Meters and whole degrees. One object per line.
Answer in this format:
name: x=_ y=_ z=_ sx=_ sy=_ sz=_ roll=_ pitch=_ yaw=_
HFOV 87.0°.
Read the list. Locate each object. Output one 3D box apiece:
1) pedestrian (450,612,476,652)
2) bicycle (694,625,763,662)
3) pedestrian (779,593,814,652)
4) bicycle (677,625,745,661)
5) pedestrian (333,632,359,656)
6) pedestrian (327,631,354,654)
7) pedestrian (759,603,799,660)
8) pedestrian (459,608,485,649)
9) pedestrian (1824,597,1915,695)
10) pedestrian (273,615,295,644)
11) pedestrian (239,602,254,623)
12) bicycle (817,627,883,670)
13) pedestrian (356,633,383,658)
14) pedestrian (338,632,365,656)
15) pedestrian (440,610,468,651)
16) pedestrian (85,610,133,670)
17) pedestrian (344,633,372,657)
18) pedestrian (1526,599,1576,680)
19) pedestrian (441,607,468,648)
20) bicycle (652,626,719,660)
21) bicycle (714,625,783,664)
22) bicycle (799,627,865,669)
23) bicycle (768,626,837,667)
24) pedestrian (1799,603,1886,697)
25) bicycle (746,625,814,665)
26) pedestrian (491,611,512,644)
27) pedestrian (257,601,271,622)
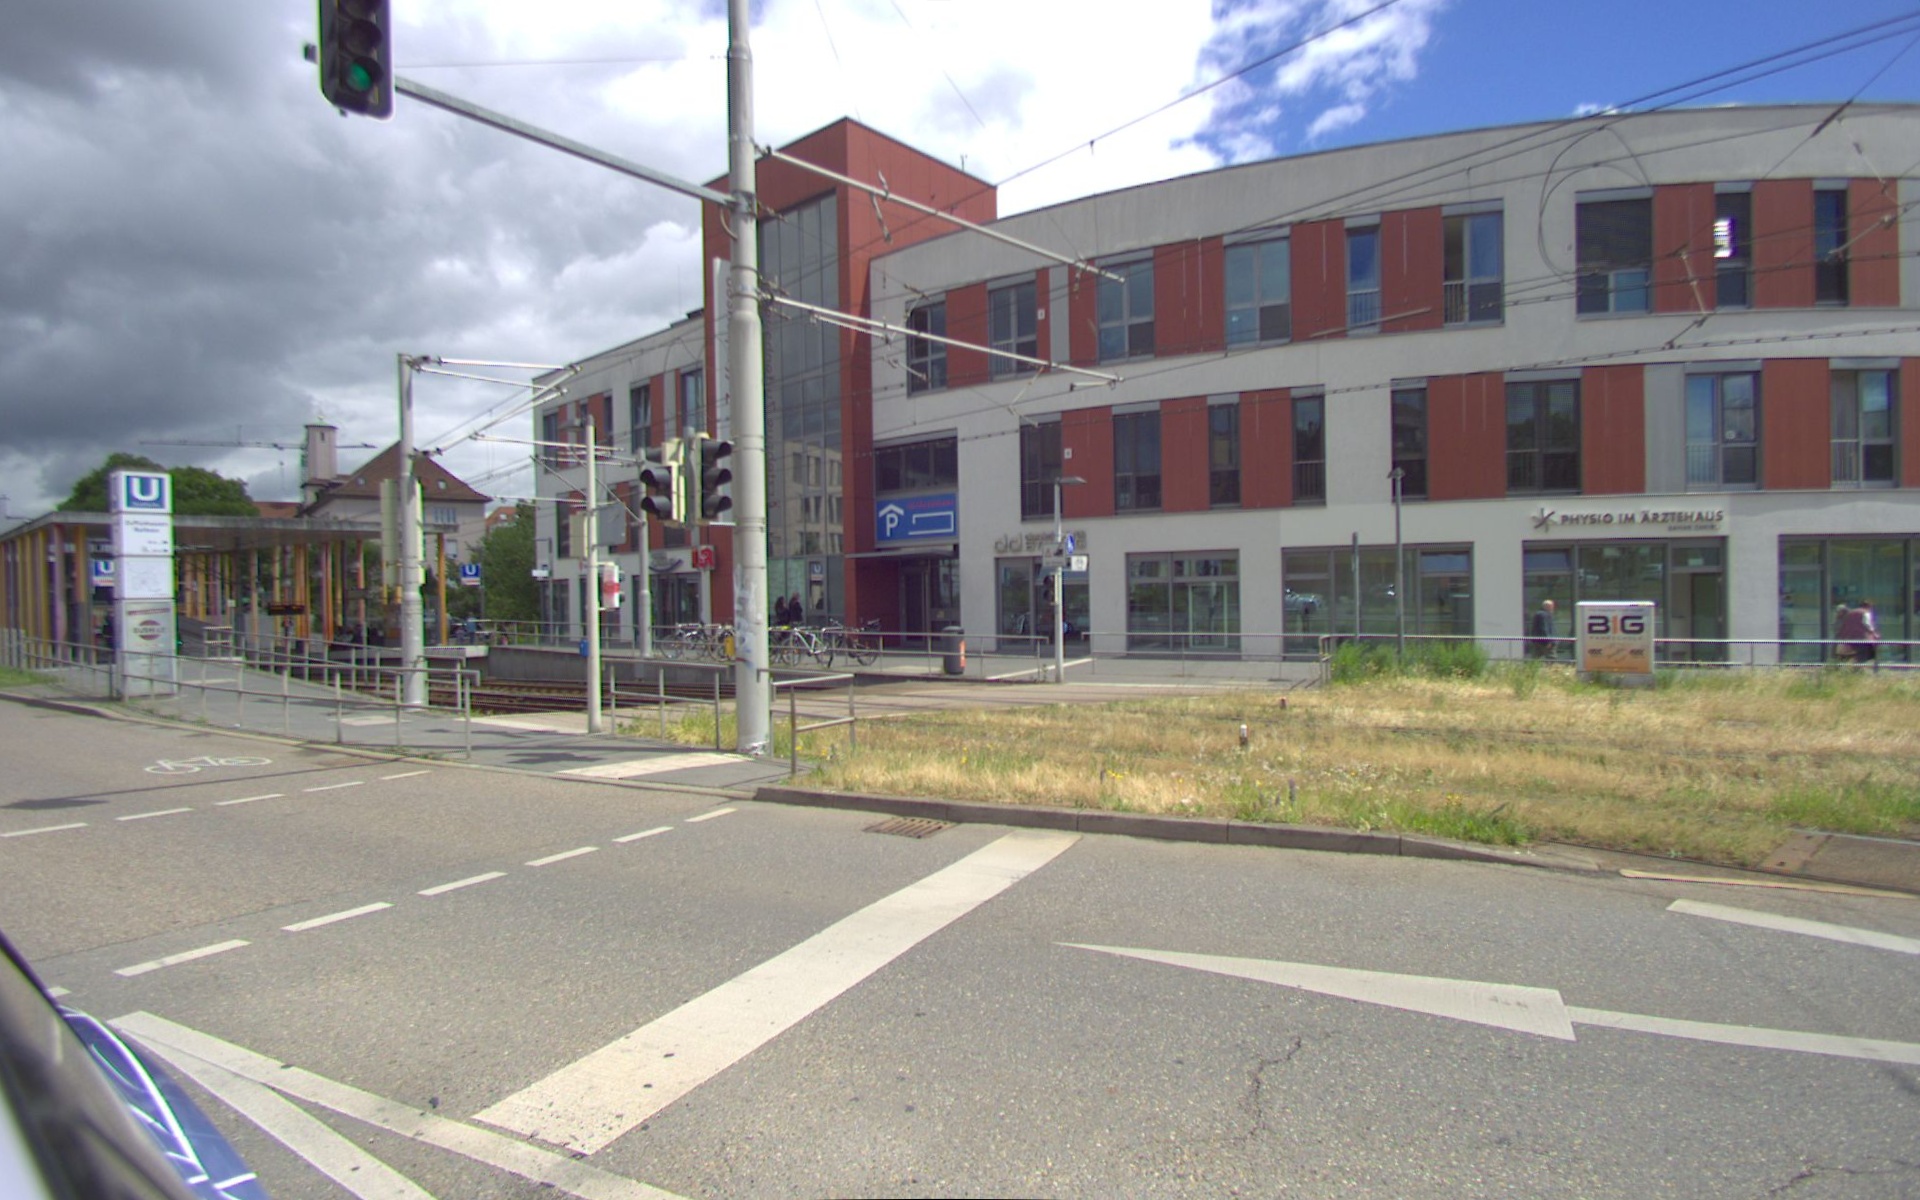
pedestrian: x=-25.221 y=1.629 z=51.380 sx=0.852 sy=1.983 sz=1.107 roll=1 pitch=-1 yaw=-44
bicycle: x=-6.297 y=1.180 z=27.556 sx=1.835 sy=0.929 sz=0.455 roll=0 pitch=0 yaw=-42
pedestrian: x=-5.235 y=0.696 z=32.453 sx=0.856 sy=1.859 sz=0.876 roll=0 pitch=1 yaw=13
bicycle: x=-6.909 y=1.184 z=28.116 sx=1.835 sy=0.939 sz=0.455 roll=0 pitch=0 yaw=-41
pedestrian: x=-30.712 y=2.189 z=50.614 sx=0.886 sy=1.143 sz=0.931 roll=-2 pitch=-1 yaw=43
pedestrian: x=-31.475 y=2.154 z=51.415 sx=0.886 sy=1.143 sz=0.931 roll=-2 pitch=-1 yaw=43
pedestrian: x=-5.563 y=0.950 z=31.112 sx=0.928 sy=1.711 sz=0.784 roll=0 pitch=-1 yaw=19
pedestrian: x=-24.143 y=1.410 z=50.056 sx=0.852 sy=1.983 sz=1.107 roll=1 pitch=-1 yaw=-44
pedestrian: x=18.919 y=0.932 z=21.073 sx=1.094 sy=1.983 sz=0.861 roll=0 pitch=-1 yaw=11
pedestrian: x=-47.607 y=2.088 z=71.279 sx=1.112 sy=2.029 sz=1.180 roll=0 pitch=-2 yaw=-44
pedestrian: x=-71.063 y=1.265 z=100.802 sx=1.112 sy=2.029 sz=0.816 roll=0 pitch=-2 yaw=-44
bicycle: x=-2.666 y=1.164 z=24.640 sx=0.428 sy=0.959 sz=1.716 roll=-1 pitch=0 yaw=43
pedestrian: x=-28.457 y=2.181 z=48.784 sx=0.886 sy=1.143 sz=0.931 roll=-2 pitch=-1 yaw=43
pedestrian: x=-30.022 y=2.184 z=49.896 sx=0.886 sy=1.143 sz=0.931 roll=-2 pitch=-1 yaw=43
pedestrian: x=-24.771 y=1.477 z=49.531 sx=1.105 sy=1.983 sz=0.853 roll=0 pitch=-1 yaw=39
pedestrian: x=-28.191 y=1.301 z=33.529 sx=0.864 sy=1.929 sz=1.090 roll=0 pitch=-1 yaw=42
pedestrian: x=-29.306 y=2.181 z=49.260 sx=0.886 sy=1.143 sz=0.931 roll=-2 pitch=-1 yaw=43
pedestrian: x=11.895 y=0.785 z=20.379 sx=0.685 sy=1.592 sz=0.731 roll=-1 pitch=-1 yaw=18
pedestrian: x=-24.722 y=1.346 z=49.504 sx=0.852 sy=1.983 sz=1.107 roll=1 pitch=-1 yaw=-44
bicycle: x=-7.801 y=1.221 z=28.805 sx=1.834 sy=0.888 sz=0.455 roll=0 pitch=0 yaw=-41
bicycle: x=-5.625 y=1.166 z=26.956 sx=1.836 sy=0.946 sz=0.455 roll=0 pitch=0 yaw=-45
bicycle: x=-3.154 y=1.164 z=25.044 sx=0.428 sy=0.965 sz=1.716 roll=-1 pitch=0 yaw=43
bicycle: x=-3.984 y=1.165 z=25.671 sx=0.454 sy=0.942 sz=1.837 roll=-1 pitch=0 yaw=43
pedestrian: x=19.060 y=1.054 z=21.876 sx=1.104 sy=1.983 sz=0.862 roll=0 pitch=-1 yaw=10
bicycle: x=-4.667 y=1.155 z=26.307 sx=0.454 sy=0.970 sz=1.837 roll=-1 pitch=0 yaw=43
pedestrian: x=-27.073 y=1.616 z=59.756 sx=1.087 sy=1.983 sz=0.867 roll=1 pitch=-1 yaw=-25
pedestrian: x=-67.355 y=1.105 z=97.922 sx=1.108 sy=2.029 sz=1.664 roll=0 pitch=-1 yaw=-35
